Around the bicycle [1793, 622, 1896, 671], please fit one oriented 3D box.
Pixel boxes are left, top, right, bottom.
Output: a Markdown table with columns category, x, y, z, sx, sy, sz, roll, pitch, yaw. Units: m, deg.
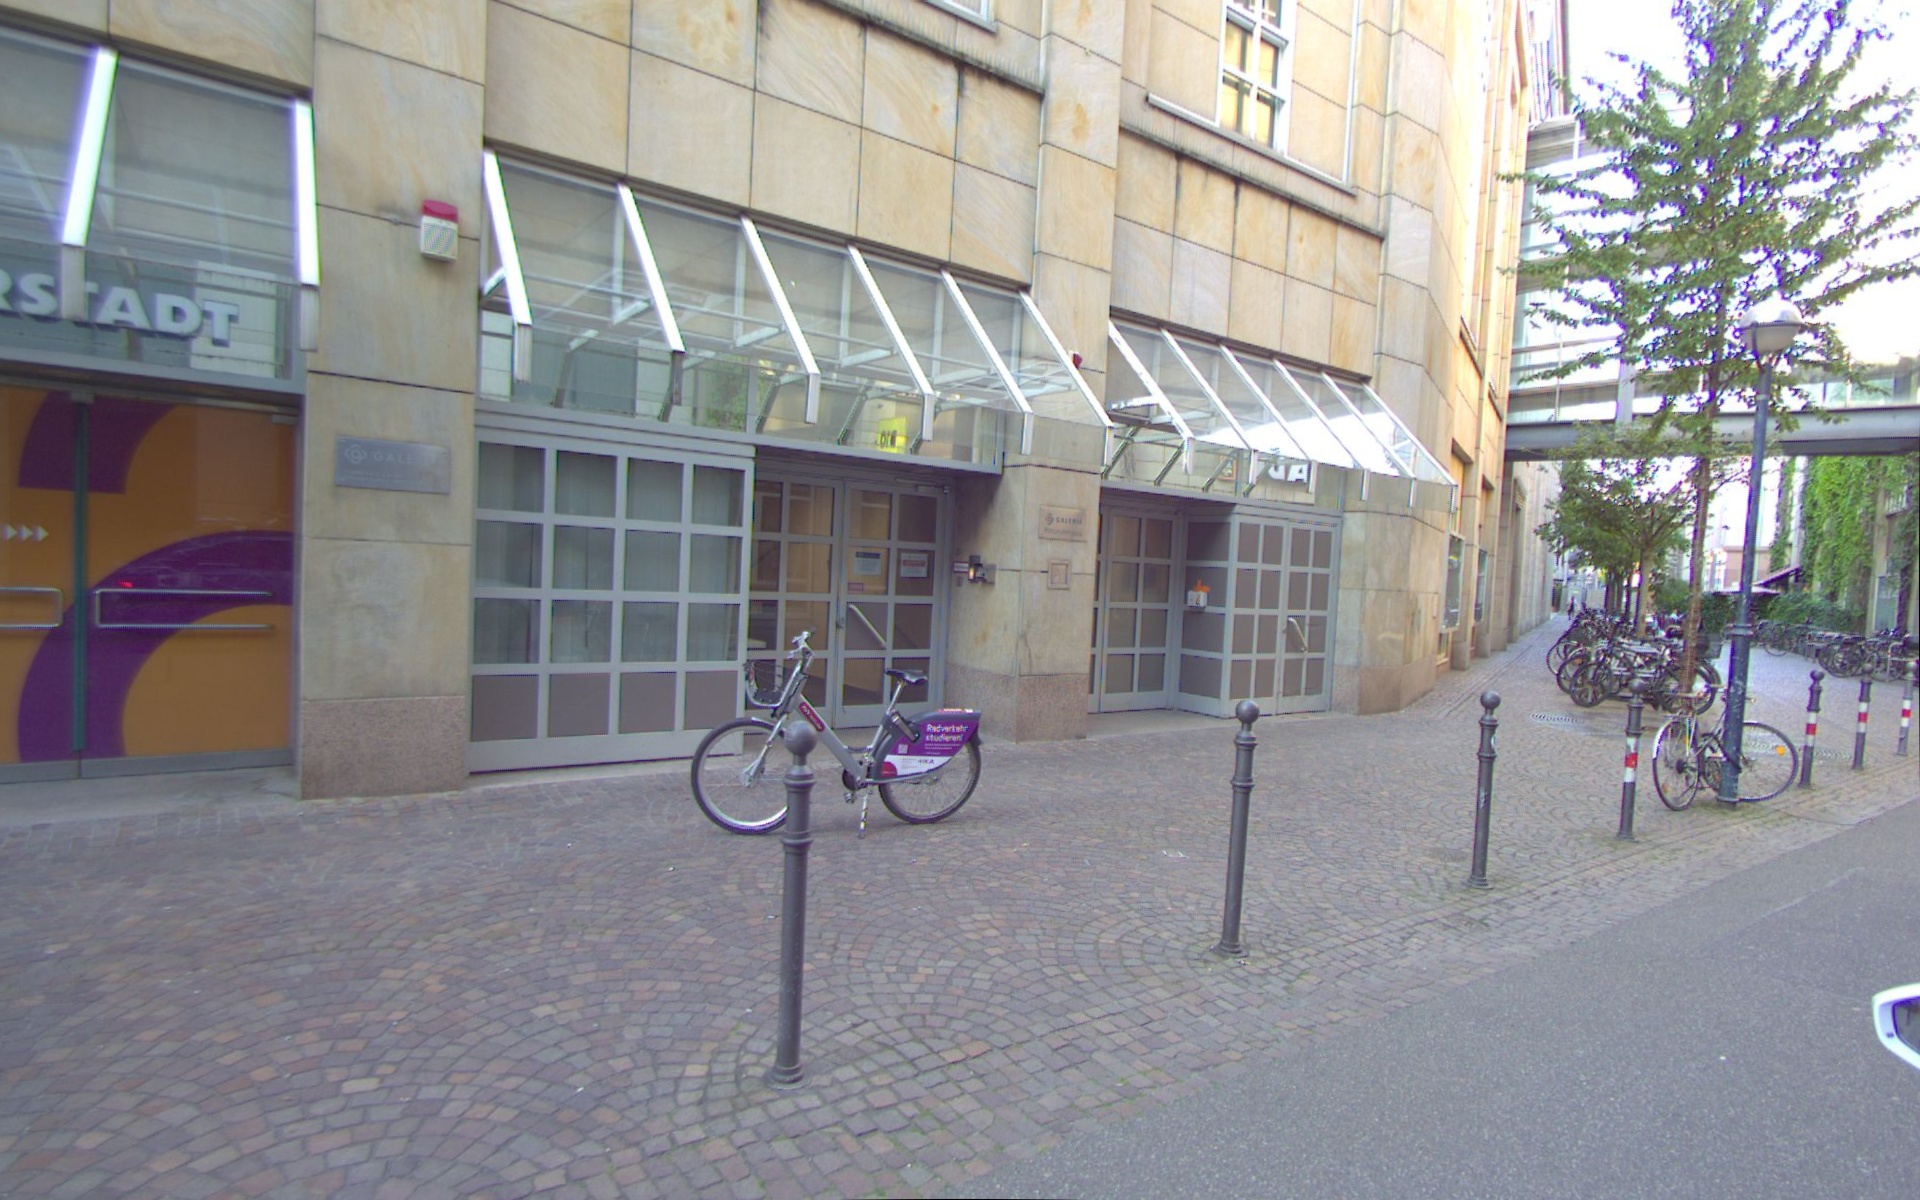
| category | x | y | z | sx | sy | sz | roll | pitch | yaw |
| --- | --- | --- | --- | --- | --- | --- | --- | --- | --- |
| bicycle | 23.605 | 1.214 | 26.846 | 1.967 | 1.198 | 0.692 | 2 | 1 | 35 |

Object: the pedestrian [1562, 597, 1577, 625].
| category | x | y | z | sx | sy | sz | roll | pitch | yaw |
| --- | --- | --- | --- | --- | --- | --- | --- | --- | --- |
| pedestrian | 40.592 | 0.706 | 66.923 | 0.763 | 1.828 | 0.633 | 3 | 2 | 30 |

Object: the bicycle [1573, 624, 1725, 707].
| category | x | y | z | sx | sy | sz | roll | pitch | yaw |
| --- | --- | --- | --- | --- | --- | --- | --- | --- | --- |
| bicycle | 10.885 | 0.999 | 15.940 | 1.887 | 1.116 | 0.694 | 4 | 2 | 34 |

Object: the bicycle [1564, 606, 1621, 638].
| category | x | y | z | sx | sy | sz | roll | pitch | yaw |
| --- | --- | --- | --- | --- | --- | --- | --- | --- | --- |
| bicycle | 26.091 | 0.909 | 41.422 | 1.888 | 1.198 | 0.693 | 4 | 2 | 37 |

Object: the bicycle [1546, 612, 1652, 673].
| category | x | y | z | sx | sy | sz | roll | pitch | yaw |
| --- | --- | --- | --- | --- | --- | --- | --- | --- | --- |
| bicycle | 14.219 | 0.927 | 22.374 | 1.888 | 1.198 | 0.693 | 4 | 2 | 37 |

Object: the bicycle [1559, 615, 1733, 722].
| category | x | y | z | sx | sy | sz | roll | pitch | yaw |
| --- | --- | --- | --- | --- | --- | --- | --- | --- | --- |
| bicycle | 9.472 | 0.900 | 13.949 | 1.887 | 1.278 | 0.806 | 4 | 2 | 34 |

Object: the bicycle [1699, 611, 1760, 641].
| category | x | y | z | sx | sy | sz | roll | pitch | yaw |
| --- | --- | --- | --- | --- | --- | --- | --- | --- | --- |
| bicycle | 32.519 | 1.097 | 42.491 | 1.967 | 1.198 | 0.692 | 2 | 1 | 35 |

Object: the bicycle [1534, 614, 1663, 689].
| category | x | y | z | sx | sy | sz | roll | pitch | yaw |
| --- | --- | --- | --- | --- | --- | --- | --- | --- | --- |
| bicycle | 11.669 | 0.911 | 18.398 | 1.888 | 1.198 | 0.693 | 4 | 2 | 37 |

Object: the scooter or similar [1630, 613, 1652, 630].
| category | x | y | z | sx | sy | sz | roll | pitch | yaw |
| --- | --- | --- | --- | --- | --- | --- | --- | --- | --- |
| scooter or similar | 35.493 | 1.112 | 52.368 | 0.879 | 0.854 | 0.909 | 3 | 2 | 32 |

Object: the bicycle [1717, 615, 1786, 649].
| category | x | y | z | sx | sy | sz | roll | pitch | yaw |
| --- | --- | --- | --- | --- | --- | --- | --- | --- | --- |
| bicycle | 29.579 | 1.189 | 37.581 | 1.967 | 1.198 | 0.692 | 2 | 1 | 35 |

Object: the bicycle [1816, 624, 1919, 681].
| category | x | y | z | sx | sy | sz | roll | pitch | yaw |
| --- | --- | --- | --- | --- | --- | --- | --- | --- | --- |
| bicycle | 20.944 | 1.180 | 22.982 | 1.967 | 1.198 | 0.694 | 2 | 1 | 35 |

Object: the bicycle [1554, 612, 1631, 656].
| category | x | y | z | sx | sy | sz | roll | pitch | yaw |
| --- | --- | --- | --- | --- | --- | --- | --- | --- | --- |
| bicycle | 19.521 | 1.037 | 31.015 | 1.888 | 1.198 | 0.693 | 4 | 2 | 37 |

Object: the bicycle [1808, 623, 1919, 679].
| category | x | y | z | sx | sy | sz | roll | pitch | yaw |
| --- | --- | --- | --- | --- | --- | --- | --- | --- | --- |
| bicycle | 21.444 | 1.194 | 23.782 | 1.967 | 1.198 | 0.800 | 2 | 1 | 35 |

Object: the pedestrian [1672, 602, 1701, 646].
| category | x | y | z | sx | sy | sz | roll | pitch | yaw |
| --- | --- | --- | --- | --- | --- | --- | --- | --- | --- |
| pedestrian | 26.279 | 0.866 | 36.351 | 0.737 | 1.529 | 0.636 | 3 | 2 | 32 |

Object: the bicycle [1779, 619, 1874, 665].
| category | x | y | z | sx | sy | sz | roll | pitch | yaw |
| --- | --- | --- | --- | --- | --- | --- | --- | --- | --- |
| bicycle | 24.790 | 1.178 | 28.796 | 1.967 | 1.198 | 0.692 | 2 | 1 | 35 |

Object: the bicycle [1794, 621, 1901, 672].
| category | x | y | z | sx | sy | sz | roll | pitch | yaw |
| --- | --- | --- | --- | --- | --- | --- | --- | --- | --- |
| bicycle | 22.974 | 1.183 | 26.047 | 1.967 | 1.198 | 0.800 | 2 | 1 | 35 |

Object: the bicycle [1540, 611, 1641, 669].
| category | x | y | z | sx | sy | sz | roll | pitch | yaw |
| --- | --- | --- | --- | --- | --- | --- | --- | --- | --- |
| bicycle | 14.715 | 0.914 | 23.454 | 1.888 | 1.198 | 0.693 | 4 | 2 | 37 |

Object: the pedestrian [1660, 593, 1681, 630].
| category | x | y | z | sx | sy | sz | roll | pitch | yaw |
| --- | --- | --- | --- | --- | --- | --- | --- | --- | --- |
| pedestrian | 36.364 | 0.573 | 51.435 | 0.754 | 1.828 | 0.775 | 3 | 2 | 32 |

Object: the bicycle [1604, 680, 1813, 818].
| category | x | y | z | sx | sy | sz | roll | pitch | yaw |
| --- | --- | --- | --- | --- | --- | --- | --- | --- | --- |
| bicycle | 5.982 | 1.153 | 8.022 | 1.670 | 0.979 | 0.504 | 2 | 2 | -22 |

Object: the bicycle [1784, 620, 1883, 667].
| category | x | y | z | sx | sy | sz | roll | pitch | yaw |
| --- | --- | --- | --- | --- | --- | --- | --- | --- | --- |
| bicycle | 24.056 | 1.179 | 27.717 | 1.967 | 1.198 | 0.692 | 2 | 1 | 35 |

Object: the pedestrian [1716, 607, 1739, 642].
| category | x | y | z | sx | sy | sz | roll | pitch | yaw |
| --- | --- | --- | --- | --- | --- | --- | --- | --- | --- |
| pedestrian | 40.668 | 1.281 | 53.229 | 0.763 | 1.828 | 0.766 | 3 | 2 | 29 |

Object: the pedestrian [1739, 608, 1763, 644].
| category | x | y | z | sx | sy | sz | roll | pitch | yaw |
| --- | --- | --- | --- | --- | --- | --- | --- | --- | --- |
| pedestrian | 41.285 | 1.332 | 52.433 | 0.763 | 1.828 | 0.766 | 3 | 2 | 29 |

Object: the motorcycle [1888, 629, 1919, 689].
| category | x | y | z | sx | sy | sz | roll | pitch | yaw |
| --- | --- | --- | --- | --- | --- | --- | --- | --- | --- |
| motorcycle | 19.872 | 1.214 | 20.168 | 1.724 | 1.171 | 0.592 | 2 | 1 | 37 |

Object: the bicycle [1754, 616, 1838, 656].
| category | x | y | z | sx | sy | sz | roll | pitch | yaw |
| --- | --- | --- | --- | --- | --- | --- | --- | --- | --- |
| bicycle | 26.636 | 1.134 | 32.059 | 1.967 | 1.198 | 0.692 | 2 | 1 | 35 |

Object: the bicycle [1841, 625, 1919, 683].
| category | x | y | z | sx | sy | sz | roll | pitch | yaw |
| --- | --- | --- | --- | --- | --- | --- | --- | --- | --- |
| bicycle | 20.637 | 1.178 | 21.949 | 1.967 | 1.198 | 0.694 | 2 | 1 | 35 |

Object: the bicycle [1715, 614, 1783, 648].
| category | x | y | z | sx | sy | sz | roll | pitch | yaw |
| --- | --- | --- | --- | --- | --- | --- | --- | --- | --- |
| bicycle | 30.061 | 1.178 | 38.287 | 1.967 | 1.198 | 0.692 | 2 | 1 | 35 |

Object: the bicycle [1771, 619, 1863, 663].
| category | x | y | z | sx | sy | sz | roll | pitch | yaw |
| --- | --- | --- | --- | --- | --- | --- | --- | --- | --- |
| bicycle | 25.380 | 1.186 | 29.798 | 1.967 | 1.198 | 0.692 | 2 | 1 | 35 |

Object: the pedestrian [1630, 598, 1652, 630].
| category | x | y | z | sx | sy | sz | roll | pitch | yaw |
| --- | --- | --- | --- | --- | --- | --- | --- | --- | --- |
| pedestrian | 36.003 | 0.743 | 53.125 | 0.879 | 1.661 | 0.909 | 3 | 2 | 32 |

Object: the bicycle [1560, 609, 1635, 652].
| category | x | y | z | sx | sy | sz | roll | pitch | yaw |
| --- | --- | --- | --- | --- | --- | --- | --- | --- | --- |
| bicycle | 20.140 | 0.943 | 31.737 | 1.888 | 1.198 | 0.693 | 4 | 2 | 37 |

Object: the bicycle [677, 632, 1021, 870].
| category | x | y | z | sx | sy | sz | roll | pitch | yaw |
| --- | --- | --- | --- | --- | --- | --- | --- | --- | --- |
| bicycle | -0.617 | 0.780 | 5.575 | 1.750 | 1.127 | 0.692 | 2 | 2 | -22 |

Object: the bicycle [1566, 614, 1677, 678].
| category | x | y | z | sx | sy | sz | roll | pitch | yaw |
| --- | --- | --- | --- | --- | --- | --- | --- | --- | --- |
| bicycle | 14.048 | 0.950 | 21.357 | 1.888 | 1.198 | 0.693 | 4 | 2 | 37 |

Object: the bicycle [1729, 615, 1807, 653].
| category | x | y | z | sx | sy | sz | roll | pitch | yaw |
| --- | --- | --- | --- | --- | --- | --- | --- | --- | --- |
| bicycle | 27.389 | 1.152 | 34.095 | 1.967 | 1.198 | 0.692 | 2 | 1 | 35 |

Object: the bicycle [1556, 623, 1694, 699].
| category | x | y | z | sx | sy | sz | roll | pitch | yaw |
| --- | --- | --- | --- | --- | --- | --- | --- | --- | --- |
| bicycle | 11.398 | 1.013 | 17.242 | 1.888 | 1.116 | 0.693 | 4 | 2 | 37 |

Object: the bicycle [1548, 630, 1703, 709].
| category | x | y | z | sx | sy | sz | roll | pitch | yaw |
| --- | --- | --- | --- | --- | --- | --- | --- | --- | --- |
| bicycle | 10.156 | 1.029 | 15.395 | 1.887 | 1.007 | 0.694 | 4 | 2 | 34 |

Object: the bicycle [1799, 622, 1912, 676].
| category | x | y | z | sx | sy | sz | roll | pitch | yaw |
| --- | --- | --- | --- | --- | --- | --- | --- | --- | --- |
| bicycle | 22.078 | 1.184 | 24.824 | 1.967 | 1.198 | 0.800 | 2 | 1 | 35 |
